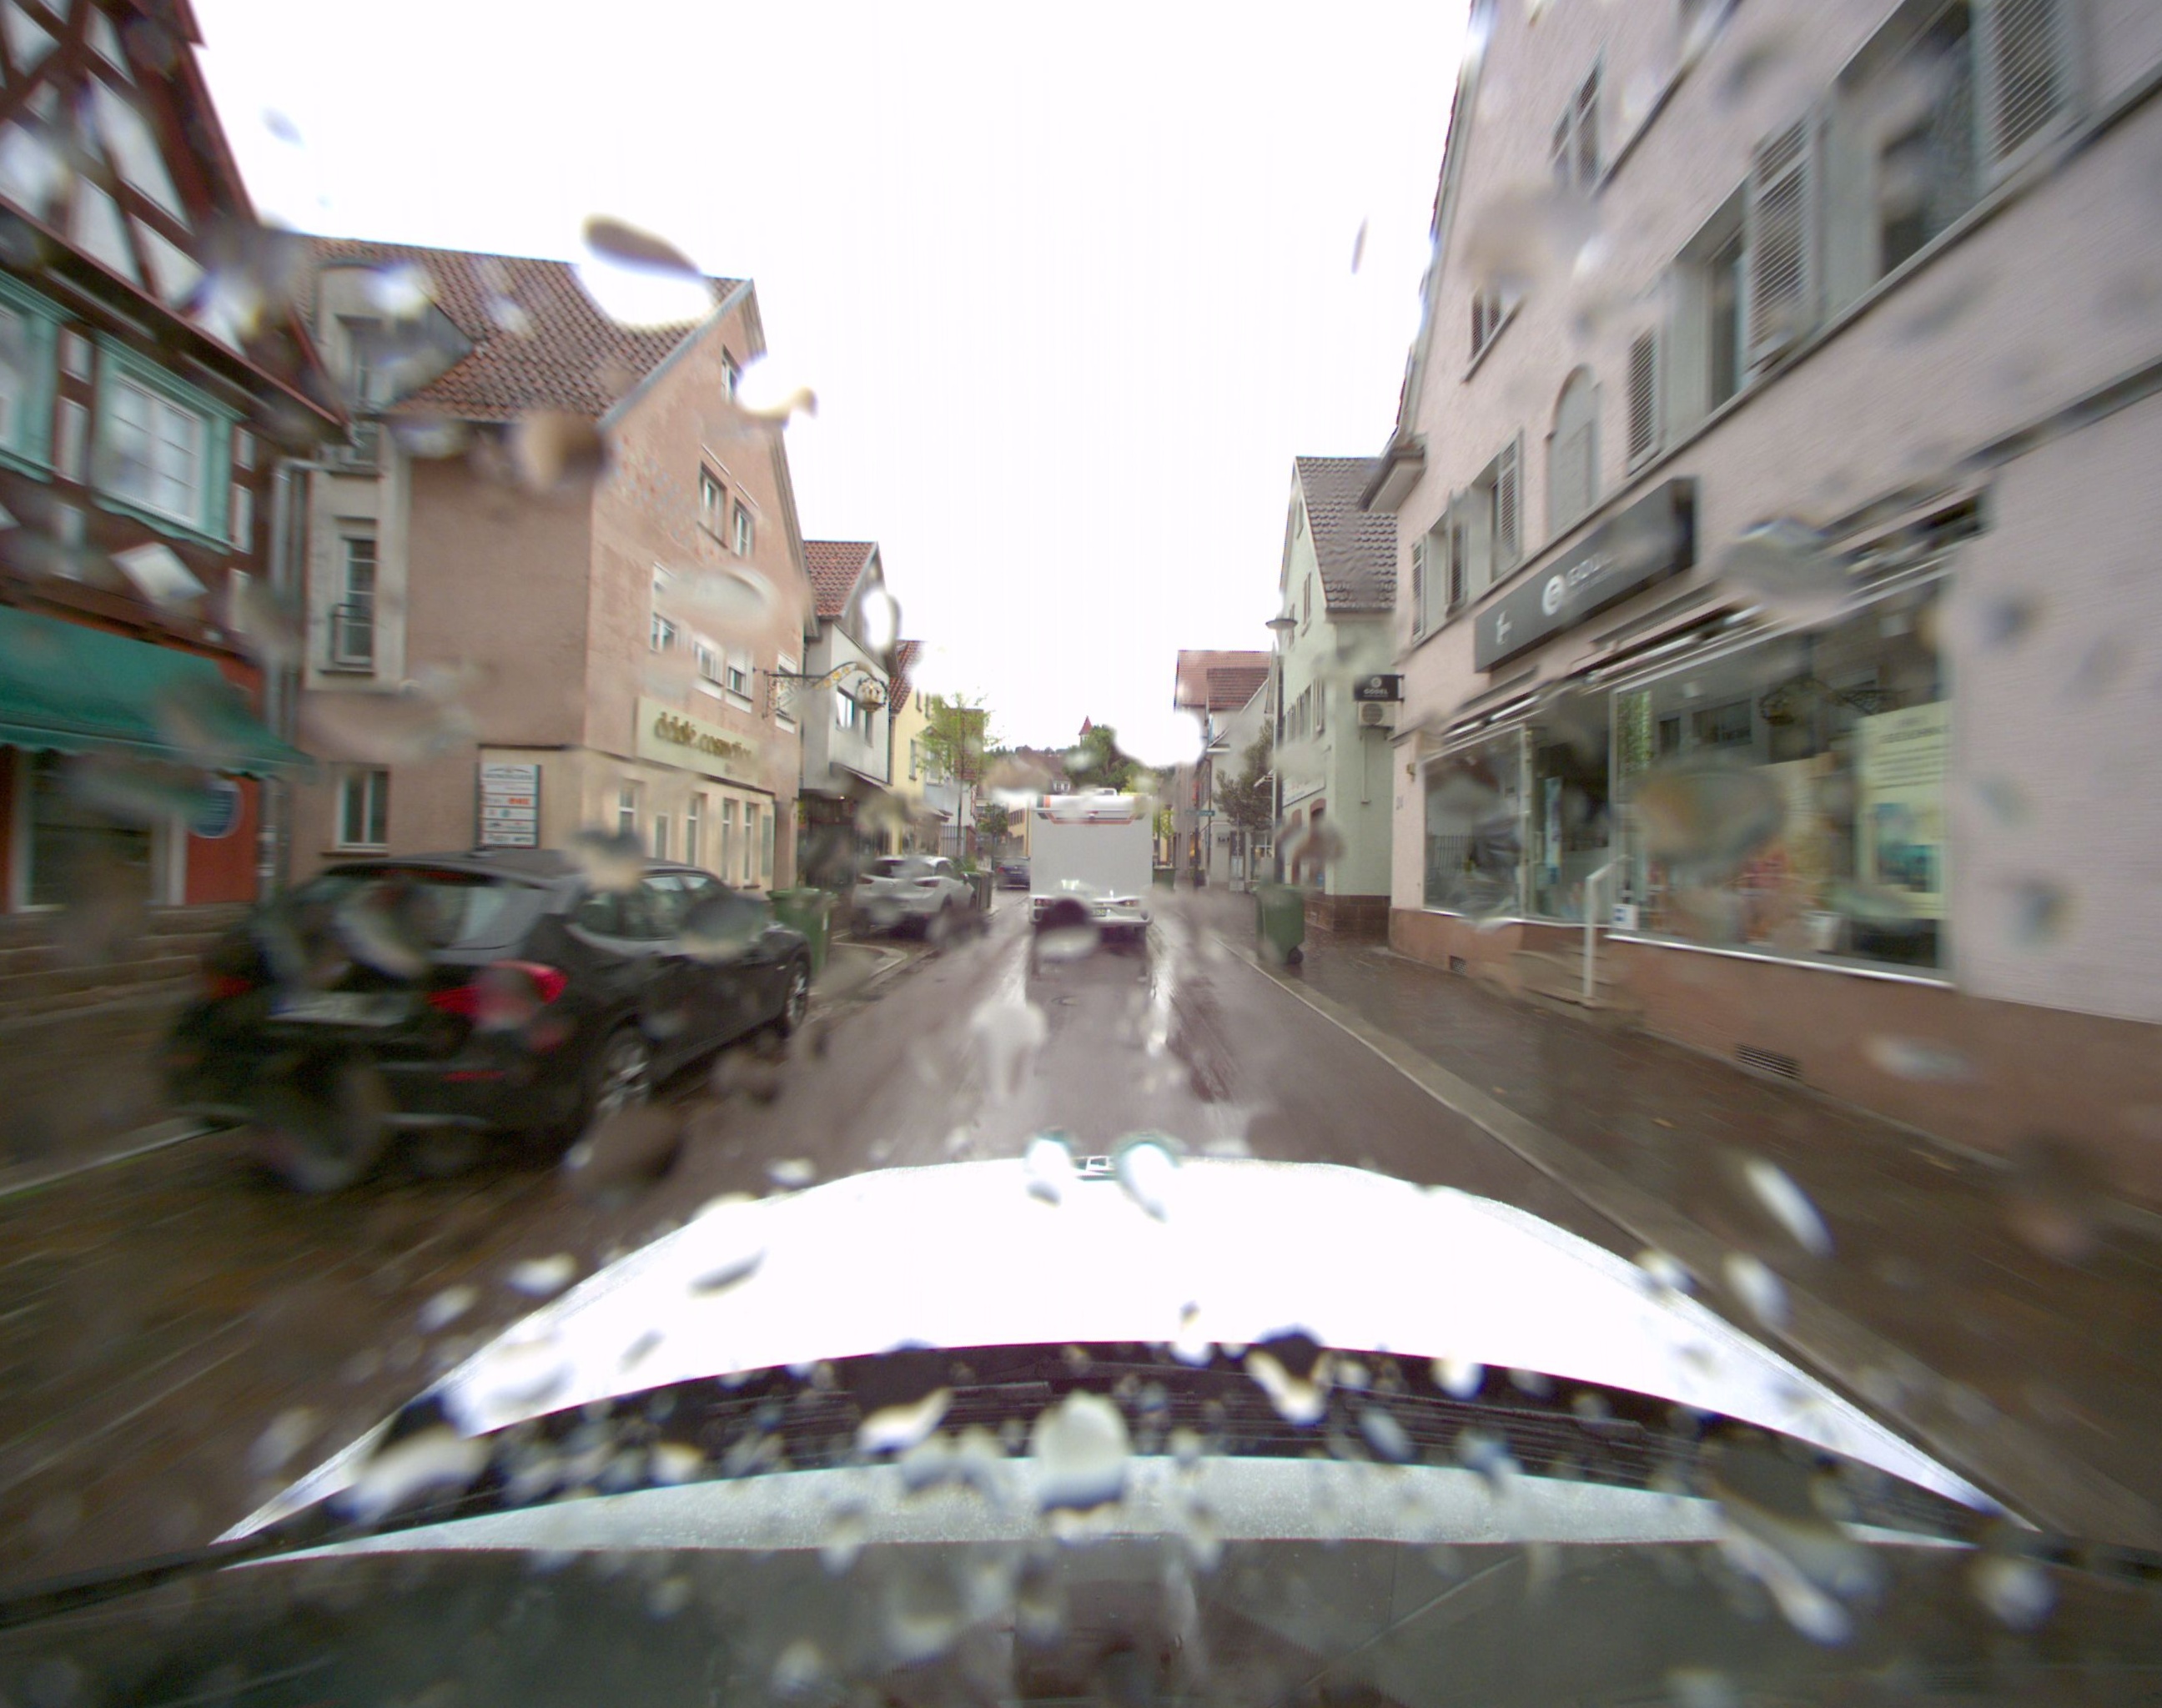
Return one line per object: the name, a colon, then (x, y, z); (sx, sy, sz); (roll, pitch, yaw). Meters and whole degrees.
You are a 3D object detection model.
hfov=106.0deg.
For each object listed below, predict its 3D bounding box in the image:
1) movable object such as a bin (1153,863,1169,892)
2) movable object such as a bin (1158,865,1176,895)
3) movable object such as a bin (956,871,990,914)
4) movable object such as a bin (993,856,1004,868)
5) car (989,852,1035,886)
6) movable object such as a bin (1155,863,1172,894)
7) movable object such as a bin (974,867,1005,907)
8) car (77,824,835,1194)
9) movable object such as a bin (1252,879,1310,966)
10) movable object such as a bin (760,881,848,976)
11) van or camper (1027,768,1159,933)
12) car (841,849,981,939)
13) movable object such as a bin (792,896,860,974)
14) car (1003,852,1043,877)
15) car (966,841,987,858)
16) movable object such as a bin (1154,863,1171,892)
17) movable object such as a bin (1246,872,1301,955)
movable object such as a bin: (3.499, 1.028, 35.592); (0.676, 1.250, 0.565); (0, -1, 0)
movable object such as a bin: (3.516, 1.062, 33.309); (0.656, 1.239, 0.621); (0, -1, 0)
movable object such as a bin: (-2.808, 0.999, 21.159); (0.813, 1.106, 0.609); (0, -1, -4)
movable object such as a bin: (-6.894, 0.667, 68.310); (0.819, 1.051, 0.696); (1, -1, -15)
car: (-3.206, 0.675, 38.053); (1.990, 1.472, 3.994); (1, 0, -4)
movable object such as a bin: (3.477, 1.034, 34.451); (0.676, 1.256, 0.542); (0, -1, 0)
movable object such as a bin: (-2.679, 0.960, 23.886); (0.813, 1.106, 0.609); (4, -2, -4)
car: (-3.277, 0.697, 5.587); (1.827, 1.552, 4.281); (0, -1, 0)
movable object such as a bin: (2.830, 0.957, 11.575); (0.715, 1.201, 0.573); (0, -1, 3)
movable object such as a bin: (-3.293, 0.868, 9.748); (0.744, 1.082, 0.764); (0, -1, 3)
van or camper: (0.142, 0.004, 17.630); (2.319, 2.919, 6.388); (0, -1, -1)
car: (-3.228, 0.740, 16.298); (1.820, 1.566, 4.001); (0, -1, 2)
movable object such as a bin: (-3.263, 1.023, 10.450); (0.653, 0.955, 0.562); (0, -1, 3)
car: (-3.833, 0.682, 53.116); (1.995, 1.494, 3.983); (2, 0, -13)
car: (-13.423, -0.579, 104.043); (1.998, 2.014, 3.976); (1, -1, -17)
movable object such as a bin: (3.491, 1.014, 35.017); (0.676, 1.232, 0.565); (0, -1, 0)
movable object such as a bin: (2.862, 0.879, 12.159); (0.715, 1.201, 0.579); (0, -1, 3)
